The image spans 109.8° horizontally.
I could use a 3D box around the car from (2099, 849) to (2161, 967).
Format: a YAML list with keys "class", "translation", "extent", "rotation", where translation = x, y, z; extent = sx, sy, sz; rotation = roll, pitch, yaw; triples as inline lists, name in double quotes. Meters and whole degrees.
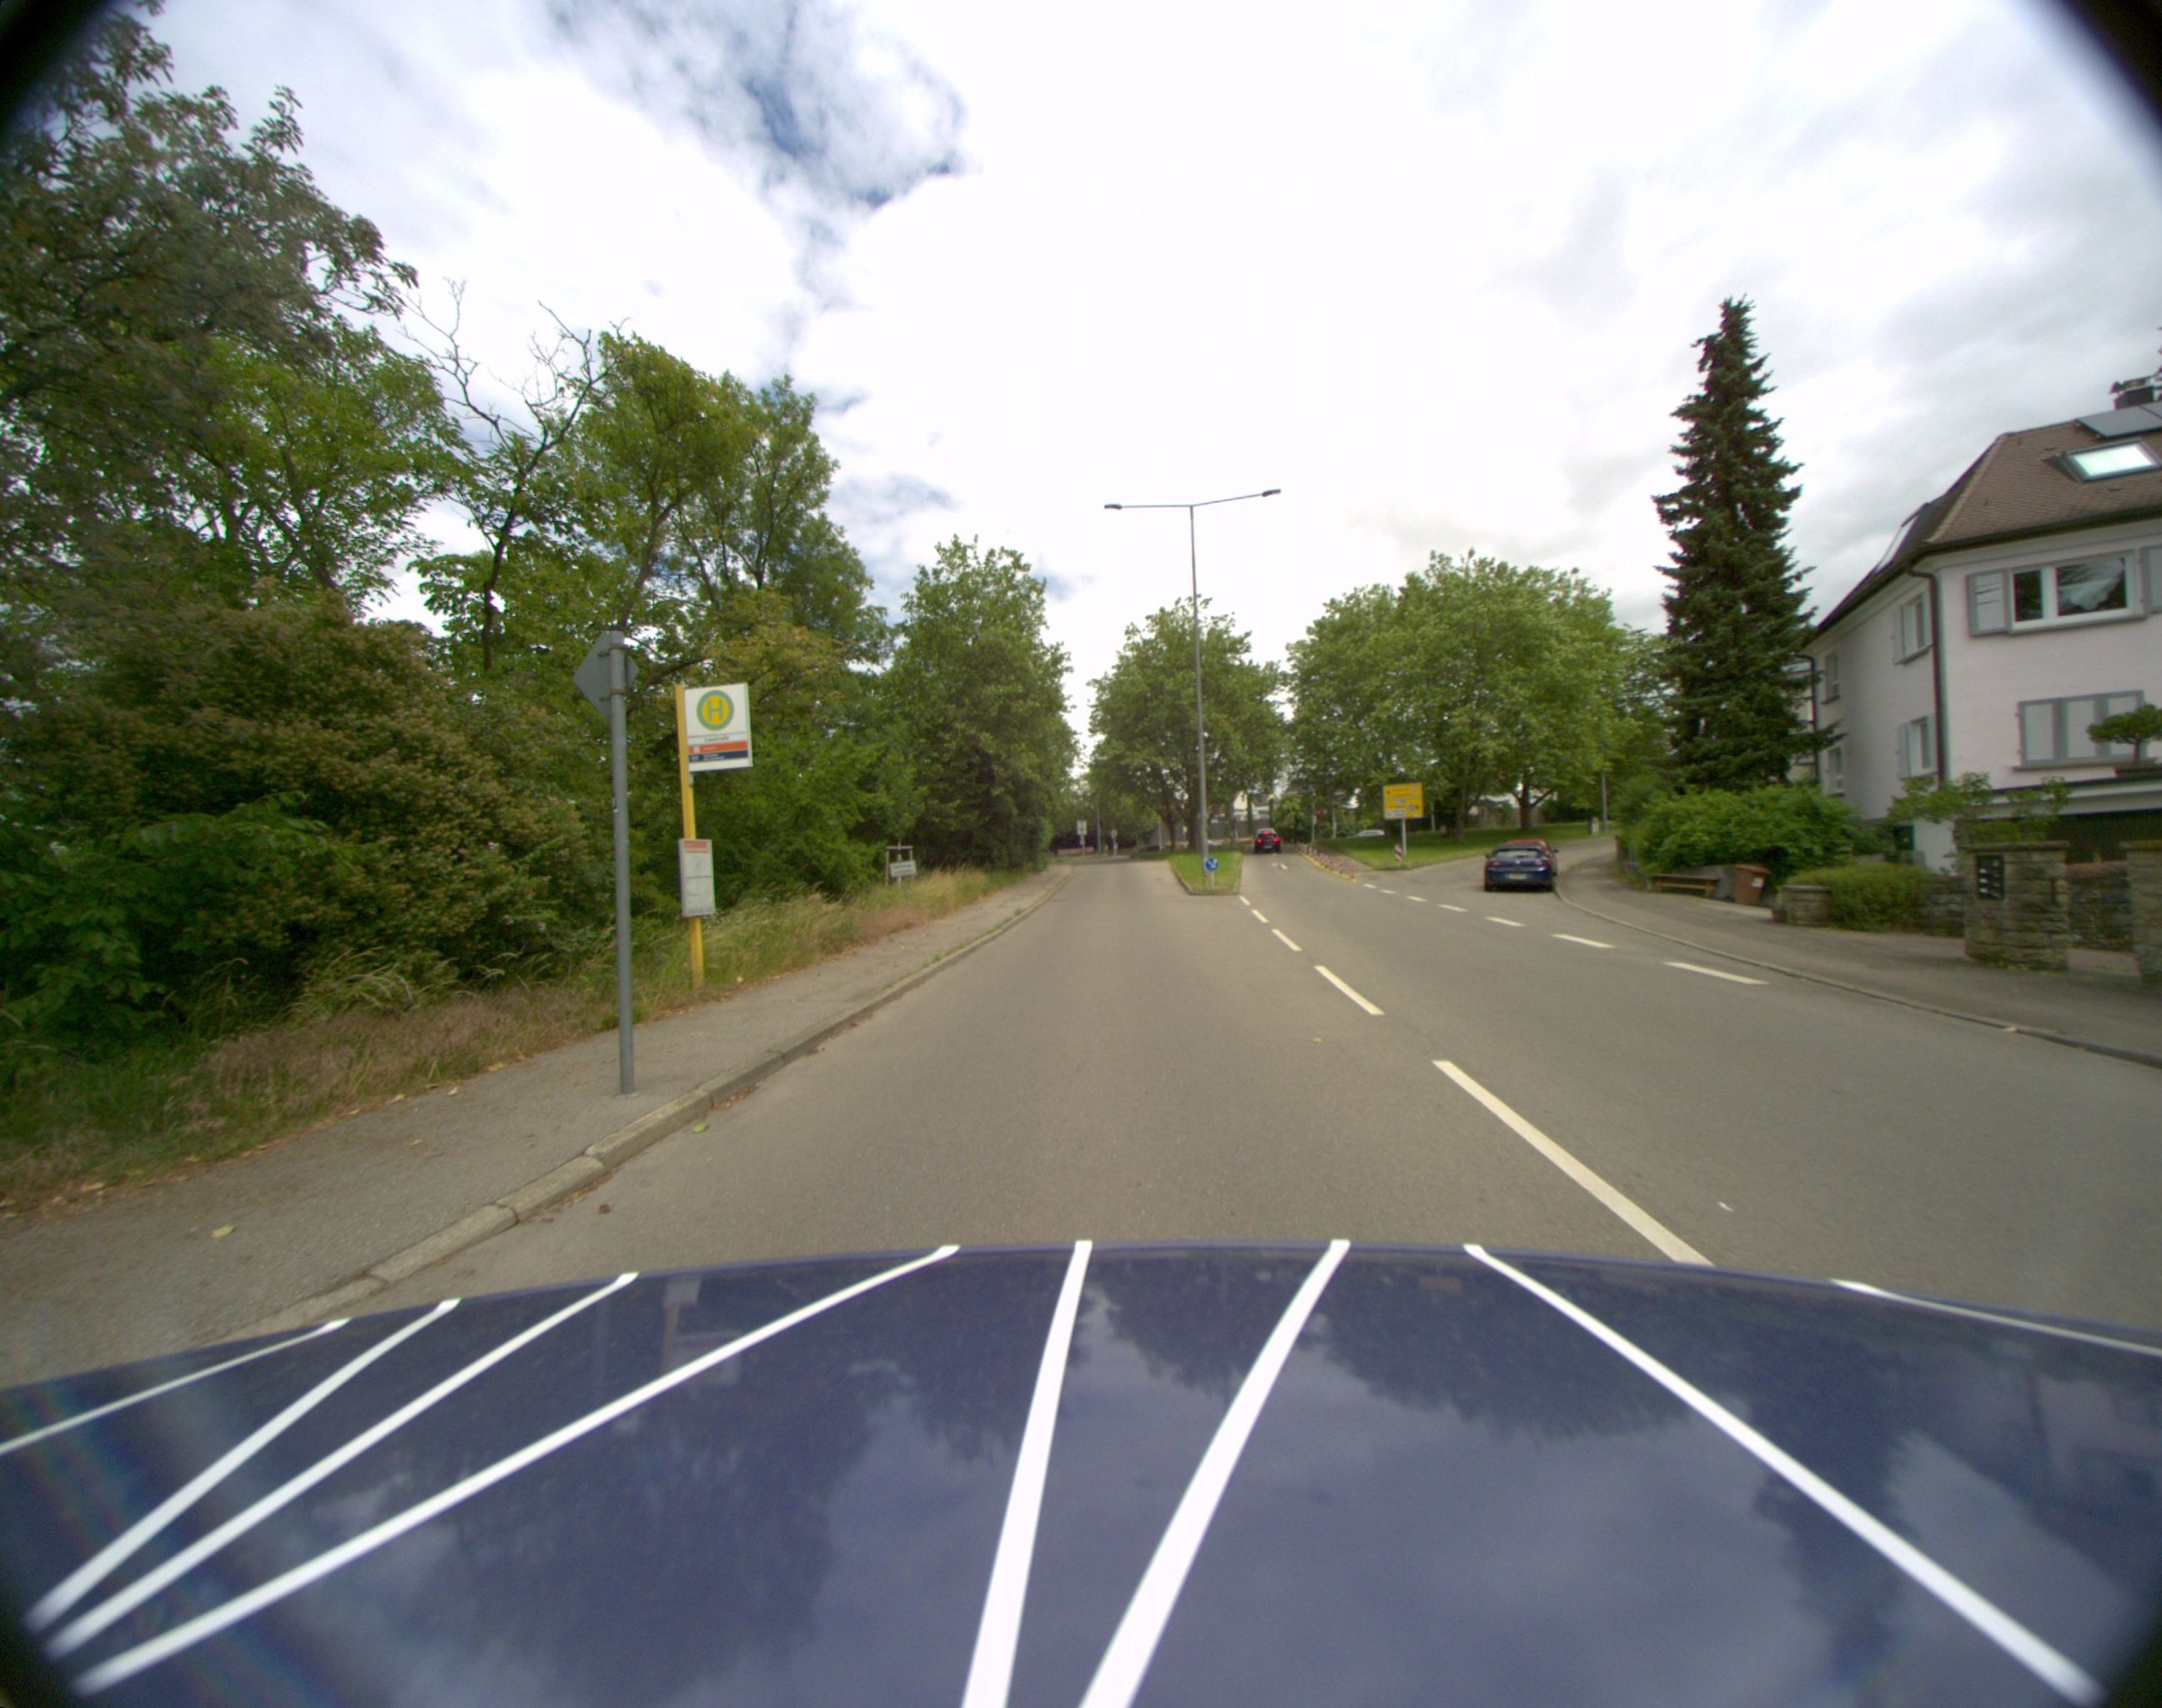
- class: "car"
  translation: [15.668, 0.780, 9.336]
  extent: [3.359, 1.528, 1.831]
  rotation: [3, 0, 12]

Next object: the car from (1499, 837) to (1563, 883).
- class: "car"
  translation: [16.745, 0.187, 28.169]
  extent: [1.728, 1.465, 4.286]
  rotation: [-2, 2, 35]

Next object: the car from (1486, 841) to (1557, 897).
- class: "car"
  translation: [13.745, 0.425, 23.757]
  extent: [1.728, 1.465, 4.321]
  rotation: [-2, 1, 30]

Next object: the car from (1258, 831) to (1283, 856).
- class: "car"
  translation: [14.503, -0.843, 58.336]
  extent: [1.760, 1.583, 4.615]
  rotation: [-3, 3, 13]

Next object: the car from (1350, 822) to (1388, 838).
- class: "car"
  translation: [32.121, -2.669, 84.851]
  extent: [3.637, 1.521, 1.654]
  rotation: [-2, -1, 34]

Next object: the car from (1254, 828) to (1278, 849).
- class: "car"
  translation: [16.457, -1.350, 67.719]
  extent: [1.854, 1.648, 4.912]
  rotation: [-3, -1, 13]

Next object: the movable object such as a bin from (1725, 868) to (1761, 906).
- class: "movable object such as a bin"
  translation: [15.242, 0.751, 17.506]
  extent: [0.317, 0.830, 0.588]
  rotation: [-2, 1, 3]

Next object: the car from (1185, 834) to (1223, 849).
- class: "car"
  translation: [14.708, -1.475, 90.694]
  extent: [4.137, 1.420, 1.801]
  rotation: [-4, -4, 43]

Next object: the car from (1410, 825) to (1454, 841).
- class: "car"
  translation: [34.236, -2.002, 74.195]
  extent: [3.636, 1.515, 1.654]
  rotation: [1, 1, 34]
